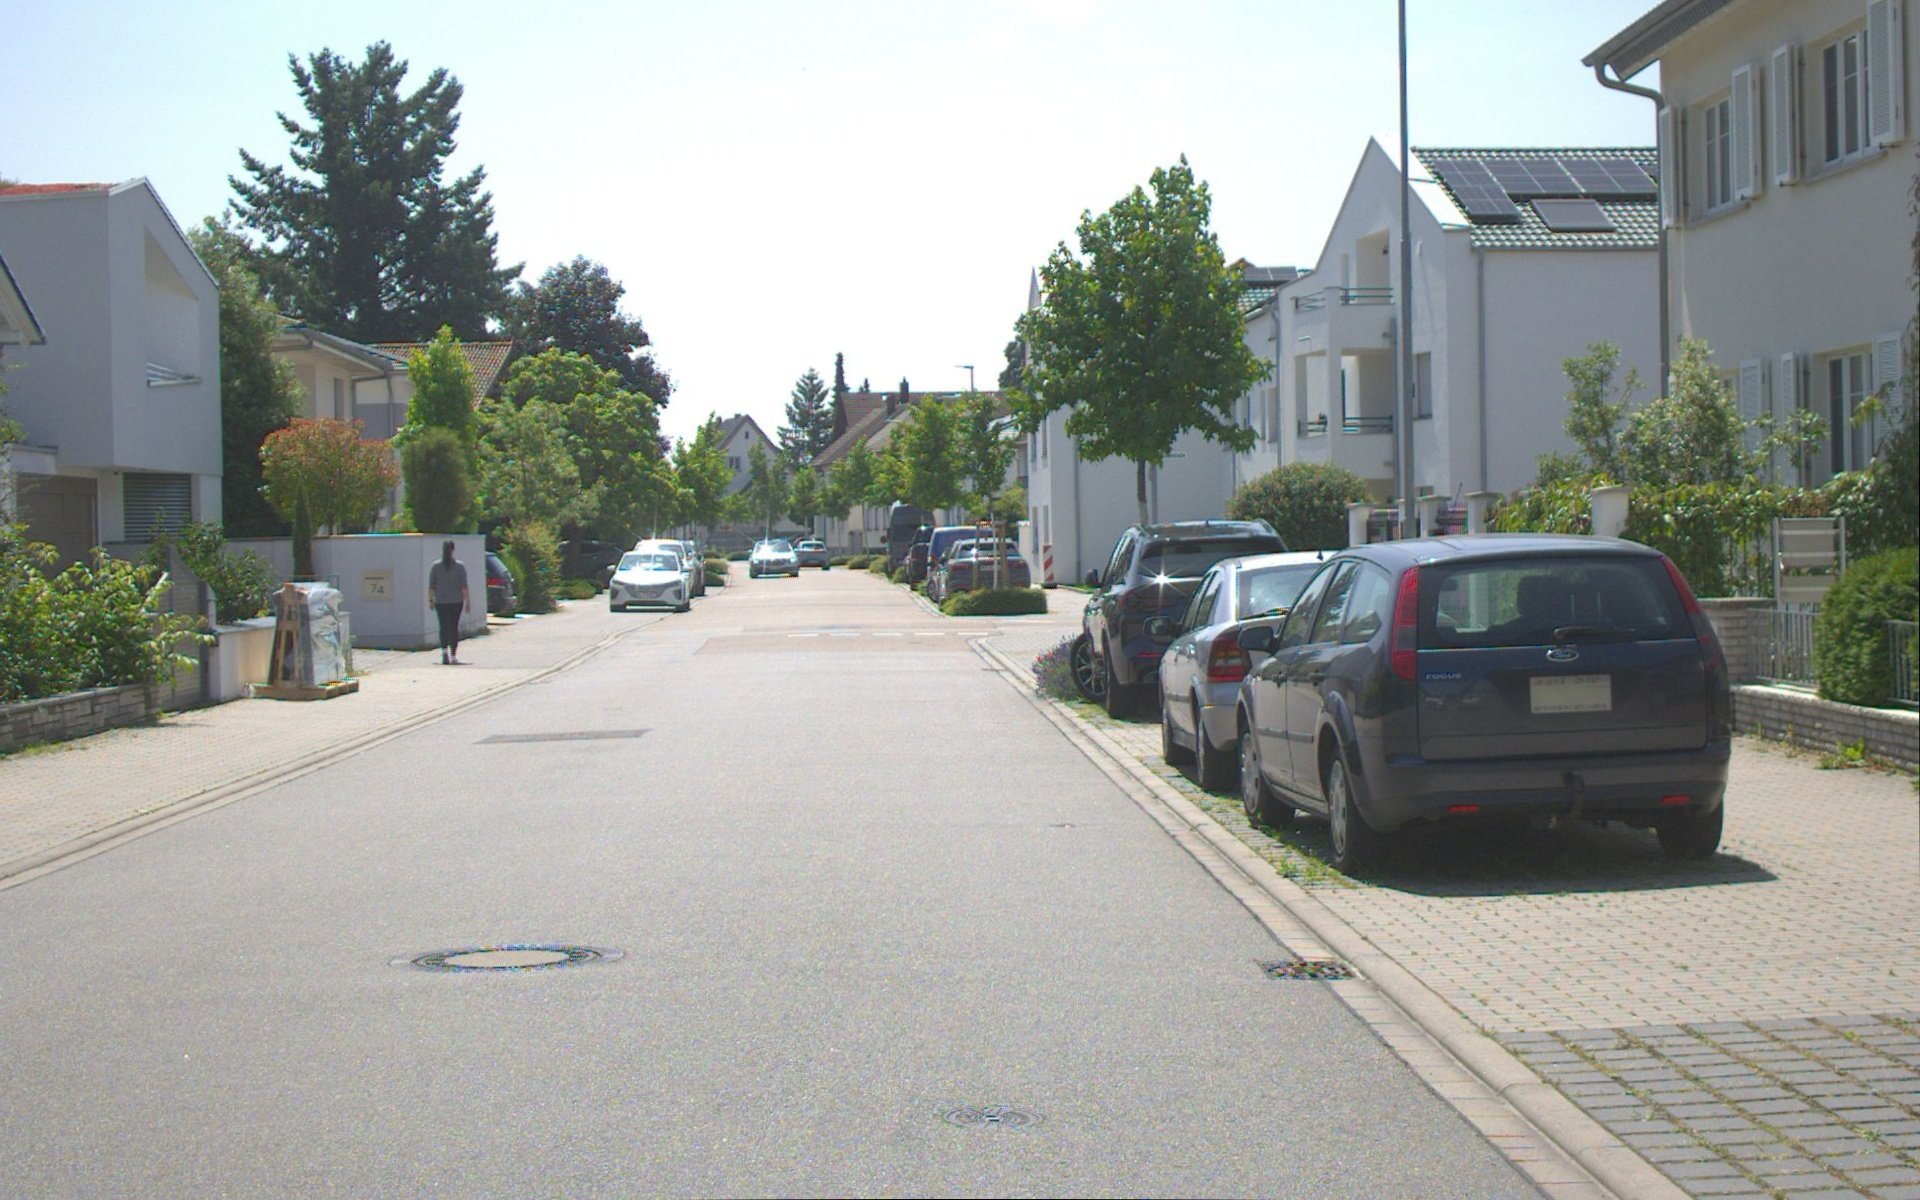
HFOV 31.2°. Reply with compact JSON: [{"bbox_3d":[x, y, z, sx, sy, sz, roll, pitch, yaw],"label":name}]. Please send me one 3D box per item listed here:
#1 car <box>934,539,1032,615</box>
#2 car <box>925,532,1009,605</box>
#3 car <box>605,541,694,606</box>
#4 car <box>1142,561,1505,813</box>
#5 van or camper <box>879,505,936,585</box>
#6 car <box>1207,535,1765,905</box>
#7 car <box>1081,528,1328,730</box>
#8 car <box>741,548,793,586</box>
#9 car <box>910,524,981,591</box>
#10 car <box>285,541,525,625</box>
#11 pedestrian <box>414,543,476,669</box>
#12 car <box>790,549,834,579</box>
[{"bbox_3d":[0.466,-0.521,74.964,1.773,1.590,4.280,-1,1,-4],"label":"car"},{"bbox_3d":[0.163,-0.858,91.697,2.099,1.875,4.843,-1,1,-1],"label":"car"},{"bbox_3d":[-7.494,-0.659,83.219,1.852,1.483,4.386,-1,1,-2],"label":"car"},{"bbox_3d":[2.253,0.490,22.308,1.814,1.415,4.093,-1,1,-1],"label":"car"},{"bbox_3d":[-2.023,-2.096,130.914,1.993,2.931,4.001,-1,1,-2],"label":"van or camper"},{"bbox_3d":[2.390,0.471,16.764,1.741,1.528,4.450,-1,1,-4],"label":"car"},{"bbox_3d":[2.151,0.196,31.368,1.814,1.650,4.565,-1,2,-1],"label":"car"},{"bbox_3d":[-7.814,-1.359,139.437,1.853,1.473,4.700,-1,1,0],"label":"car"},{"bbox_3d":[-0.480,-1.308,105.871,1.993,1.940,5.215,-2,1,-2],"label":"car"},{"bbox_3d":[-11.085,-0.352,68.874,4.429,1.468,1.850,2,1,2],"label":"car"},{"bbox_3d":[-7.269,0.076,48.535,0.714,1.741,0.961,-1,1,-2],"label":"pedestrian"},{"bbox_3d":[-7.232,-1.771,168.344,1.993,1.425,4.000,-1,1,0],"label":"car"}]
